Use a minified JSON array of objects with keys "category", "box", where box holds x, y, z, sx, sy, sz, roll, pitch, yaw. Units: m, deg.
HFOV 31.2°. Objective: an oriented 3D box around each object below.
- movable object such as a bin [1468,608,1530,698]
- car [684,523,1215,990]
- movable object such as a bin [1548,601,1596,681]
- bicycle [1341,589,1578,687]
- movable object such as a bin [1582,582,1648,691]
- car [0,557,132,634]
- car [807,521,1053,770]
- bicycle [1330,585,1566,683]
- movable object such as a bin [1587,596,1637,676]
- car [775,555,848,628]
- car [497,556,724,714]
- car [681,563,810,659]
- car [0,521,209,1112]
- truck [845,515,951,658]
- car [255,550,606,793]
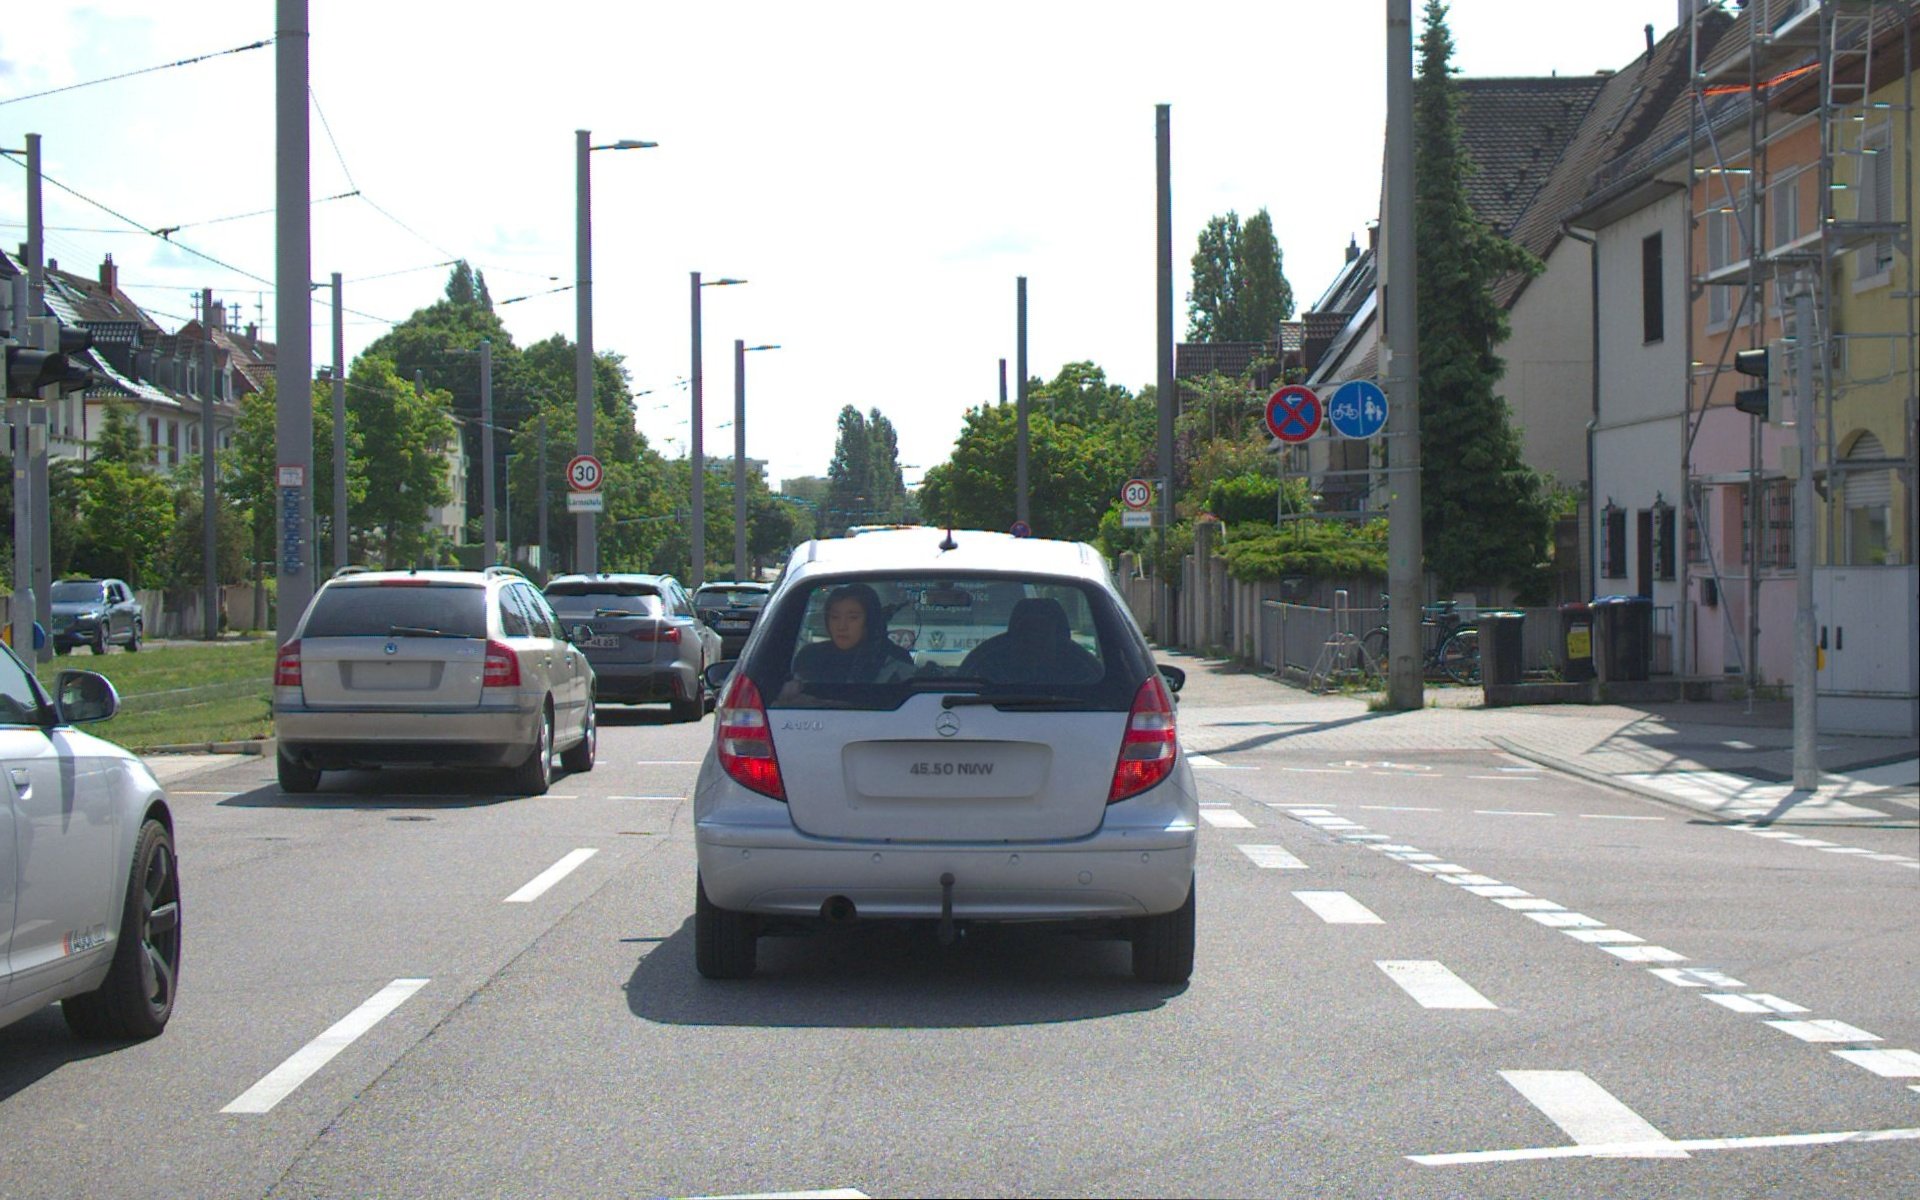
[{"category":"movable object such as a bin","box":[5.522,0.540,35.251,0.511,0.915,0.741,0,0,0]},{"category":"car","box":[-0.121,0.519,13.422,1.730,1.512,4.017,1,0,-3]},{"category":"movable object such as a bin","box":[7.315,0.488,41.129,0.468,0.943,0.558,0,0,0]},{"category":"bicycle","box":[5.899,0.447,40.686,2.661,1.101,0.786,-1,0,-1]},{"category":"movable object such as a bin","box":[6.733,0.374,35.355,0.511,1.101,0.855,0,0,0]},{"category":"car","box":[-20.667,-0.102,79.358,2.014,1.706,4.937,-1,0,-1]},{"category":"car","box":[-0.245,0.326,26.835,1.730,1.756,4.016,1,0,-1]},{"category":"bicycle","box":[5.866,0.401,41.400,2.726,1.116,0.691,-1,0,-1]},{"category":"movable object such as a bin","box":[7.798,0.426,41.124,0.468,0.943,0.558,-1,0,0]},{"category":"car","box":[-3.912,-0.216,91.118,1.852,1.837,3.919,1,0,-2]},{"category":"car","box":[-3.526,0.327,35.420,1.916,1.472,4.562,1,0,-1]},{"category":"car","box":[-3.285,0.158,53.372,1.852,1.384,4.514,1,0,-2]},{"category":"car","box":[-3.270,0.519,8.633,1.794,1.467,4.722,1,0,-1]},{"category":"truck","box":[-1.219,-0.246,65.311,1.852,2.543,5.855,1,0,-2]},{"category":"car","box":[-3.495,0.414,23.370,1.731,1.444,4.123,1,1,0]}]
